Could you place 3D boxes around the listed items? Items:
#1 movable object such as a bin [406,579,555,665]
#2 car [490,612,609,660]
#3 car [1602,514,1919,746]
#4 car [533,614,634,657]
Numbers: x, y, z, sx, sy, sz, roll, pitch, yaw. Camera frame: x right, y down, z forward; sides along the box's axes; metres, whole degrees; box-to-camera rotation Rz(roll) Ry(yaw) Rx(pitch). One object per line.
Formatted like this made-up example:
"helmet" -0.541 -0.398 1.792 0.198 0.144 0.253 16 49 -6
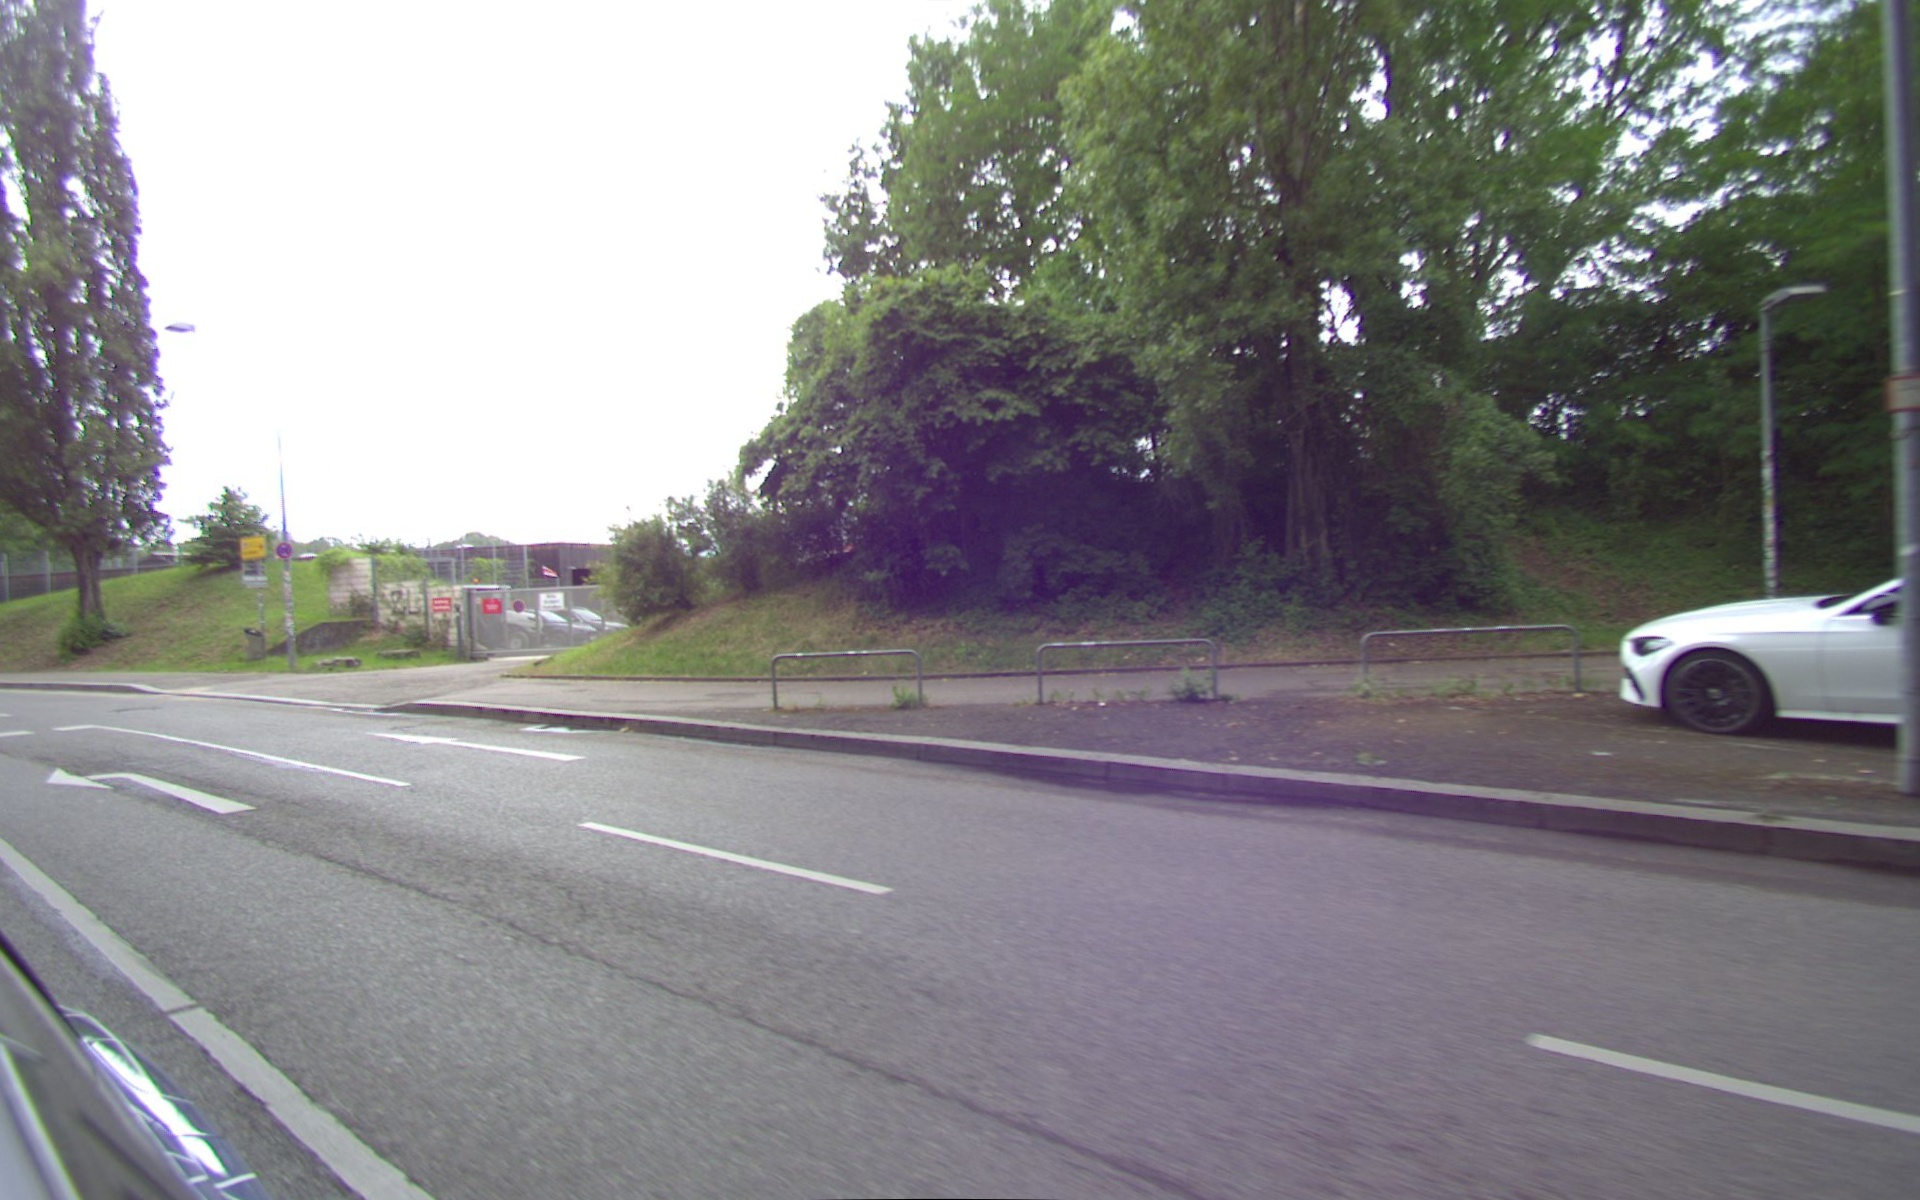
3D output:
"movable object such as a bin" -16.382 0.741 34.747 4.167 2.743 2.030 -2 -1 -5
"car" -15.191 1.327 37.585 3.709 1.621 1.858 -2 -1 -5
"car" 7.577 0.159 7.054 1.968 1.490 4.840 -7 5 -35
"car" -14.790 1.384 39.912 3.420 1.534 1.564 -2 -1 -5
